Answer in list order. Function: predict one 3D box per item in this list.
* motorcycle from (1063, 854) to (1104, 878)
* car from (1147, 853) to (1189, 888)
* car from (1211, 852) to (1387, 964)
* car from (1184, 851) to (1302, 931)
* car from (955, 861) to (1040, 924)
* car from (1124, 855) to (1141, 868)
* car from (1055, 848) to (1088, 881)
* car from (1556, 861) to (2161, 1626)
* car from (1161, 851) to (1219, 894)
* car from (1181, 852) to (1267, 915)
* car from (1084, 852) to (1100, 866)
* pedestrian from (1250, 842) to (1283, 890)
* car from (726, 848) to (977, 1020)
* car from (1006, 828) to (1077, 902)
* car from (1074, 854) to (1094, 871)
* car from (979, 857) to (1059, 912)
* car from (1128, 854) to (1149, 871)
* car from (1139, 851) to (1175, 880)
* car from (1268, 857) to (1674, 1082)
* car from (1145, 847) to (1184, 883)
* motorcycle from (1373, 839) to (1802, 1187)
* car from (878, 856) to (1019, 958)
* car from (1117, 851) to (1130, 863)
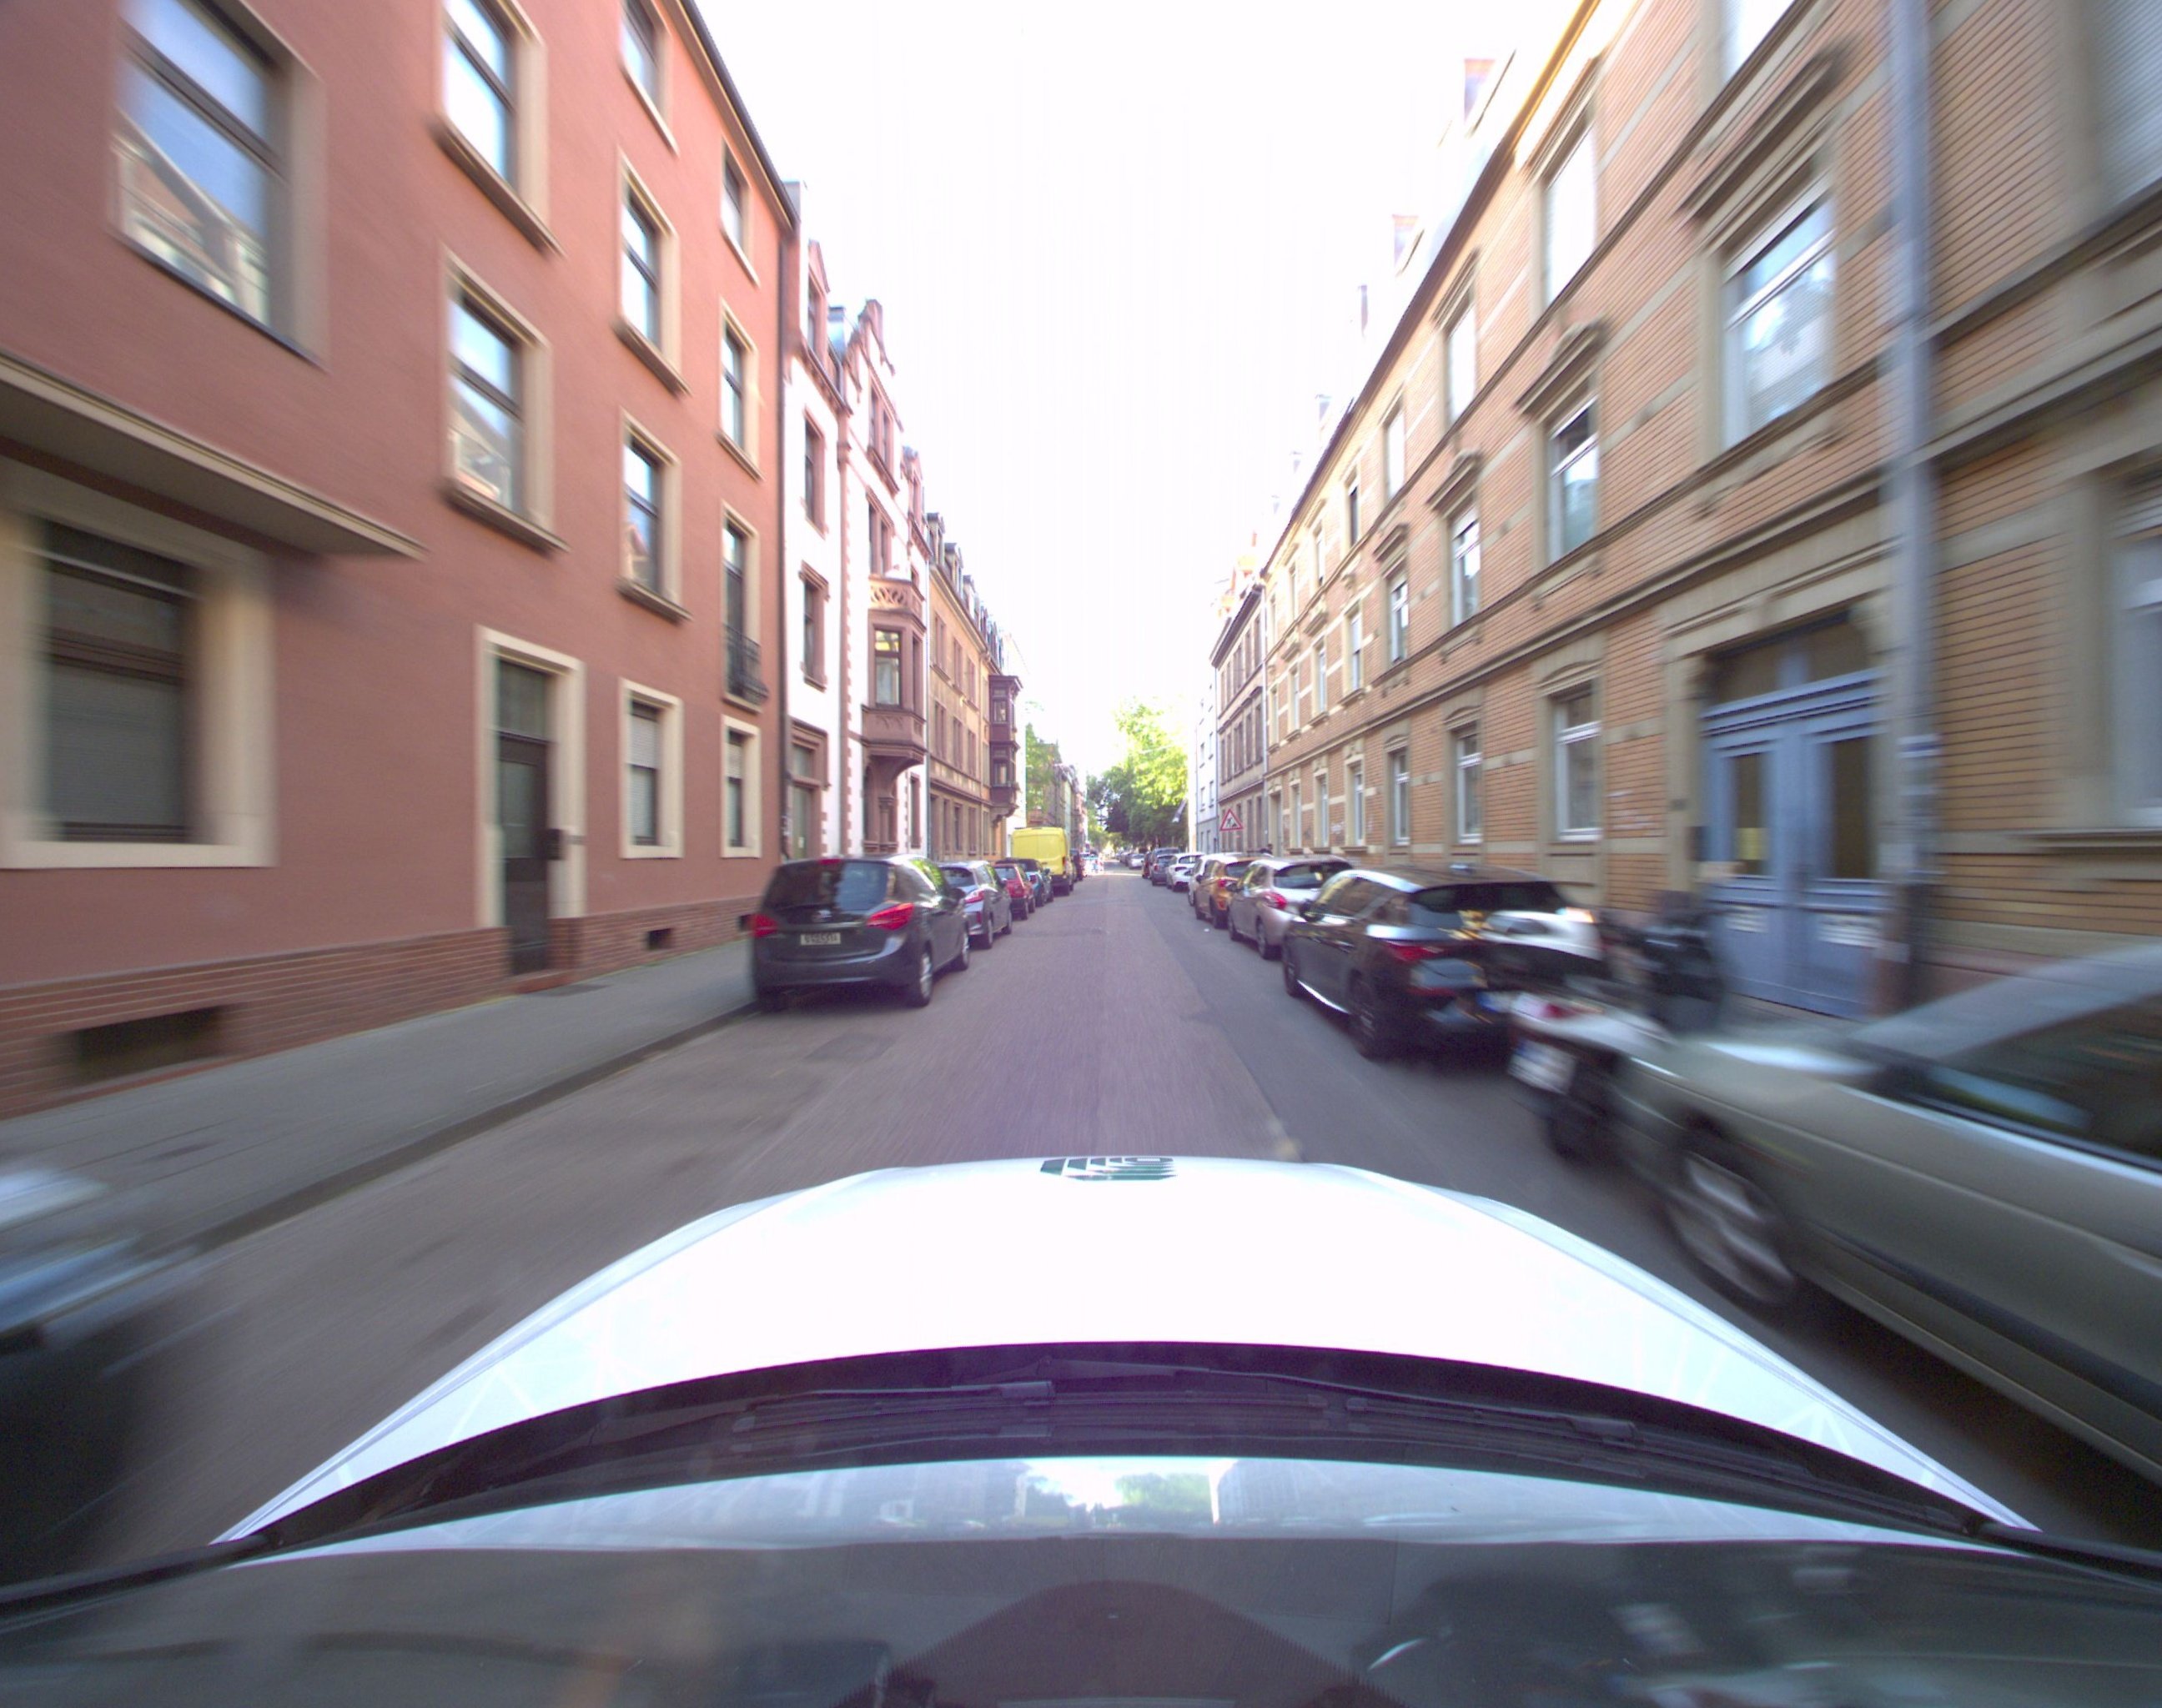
[{"bbox_3d":[0.164,0.775,51.704,2.524,1.482,0.896,0,0,-25],"label":"motorcycle"},{"bbox_3d":[4.172,0.767,39.558,1.746,1.453,4.292,-5,0,3],"label":"car"},{"bbox_3d":[3.343,0.743,13.313,1.720,1.417,4.094,-5,0,0],"label":"car"},{"bbox_3d":[3.445,0.734,18.059,1.748,1.446,4.069,-4,0,0],"label":"car"},{"bbox_3d":[-2.019,0.897,20.514,1.612,1.326,3.613,-3,0,1],"label":"car"},{"bbox_3d":[6.285,0.914,100.374,1.887,1.625,4.001,0,-1,1],"label":"car"},{"bbox_3d":[-0.534,0.588,46.436,1.813,1.766,4.333,0,0,-1],"label":"car"},{"bbox_3d":[2.888,0.750,1.631,1.685,1.406,3.995,-1,0,3],"label":"car"},{"bbox_3d":[4.426,0.719,33.660,1.748,1.518,4.444,-5,0,1],"label":"car"},{"bbox_3d":[3.929,0.769,23.024,1.714,1.480,4.084,-4,0,1],"label":"car"},{"bbox_3d":[1.713,0.741,123.384,2.299,2.114,5.173,-1,-1,3],"label":"car"},{"bbox_3d":[6.537,0.428,28.717,0.659,1.630,0.870,-1,-1,-40],"label":"pedestrian"},{"bbox_3d":[-2.417,0.748,9.695,1.775,1.606,4.069,0,0,1],"label":"car"},{"bbox_3d":[-1.414,0.375,31.692,2.167,2.508,5.880,-3,0,2],"label":"car"},{"bbox_3d":[0.359,0.928,85.465,1.874,1.707,4.003,-2,-1,3],"label":"car"},{"bbox_3d":[-1.816,0.874,25.020,1.710,1.412,3.903,-5,0,5],"label":"car"},{"bbox_3d":[5.522,0.806,79.094,1.718,1.522,3.999,-1,0,-1],"label":"car"},{"bbox_3d":[4.561,0.695,49.664,1.893,1.640,4.392,-1,-1,2],"label":"car"},{"bbox_3d":[2.991,0.750,7.377,1.770,1.397,4.320,0,0,2],"label":"car"},{"bbox_3d":[4.559,0.560,44.991,1.747,1.786,4.725,-3,0,2],"label":"car"},{"bbox_3d":[2.787,0.723,4.455,2.229,1.536,0.883,2,0,-24],"label":"motorcycle"},{"bbox_3d":[-2.222,0.840,14.729,1.687,1.474,3.921,-3,0,2],"label":"car"},{"bbox_3d":[7.805,0.571,150.846,2.153,2.255,4.526,-1,-1,1],"label":"car"}]
